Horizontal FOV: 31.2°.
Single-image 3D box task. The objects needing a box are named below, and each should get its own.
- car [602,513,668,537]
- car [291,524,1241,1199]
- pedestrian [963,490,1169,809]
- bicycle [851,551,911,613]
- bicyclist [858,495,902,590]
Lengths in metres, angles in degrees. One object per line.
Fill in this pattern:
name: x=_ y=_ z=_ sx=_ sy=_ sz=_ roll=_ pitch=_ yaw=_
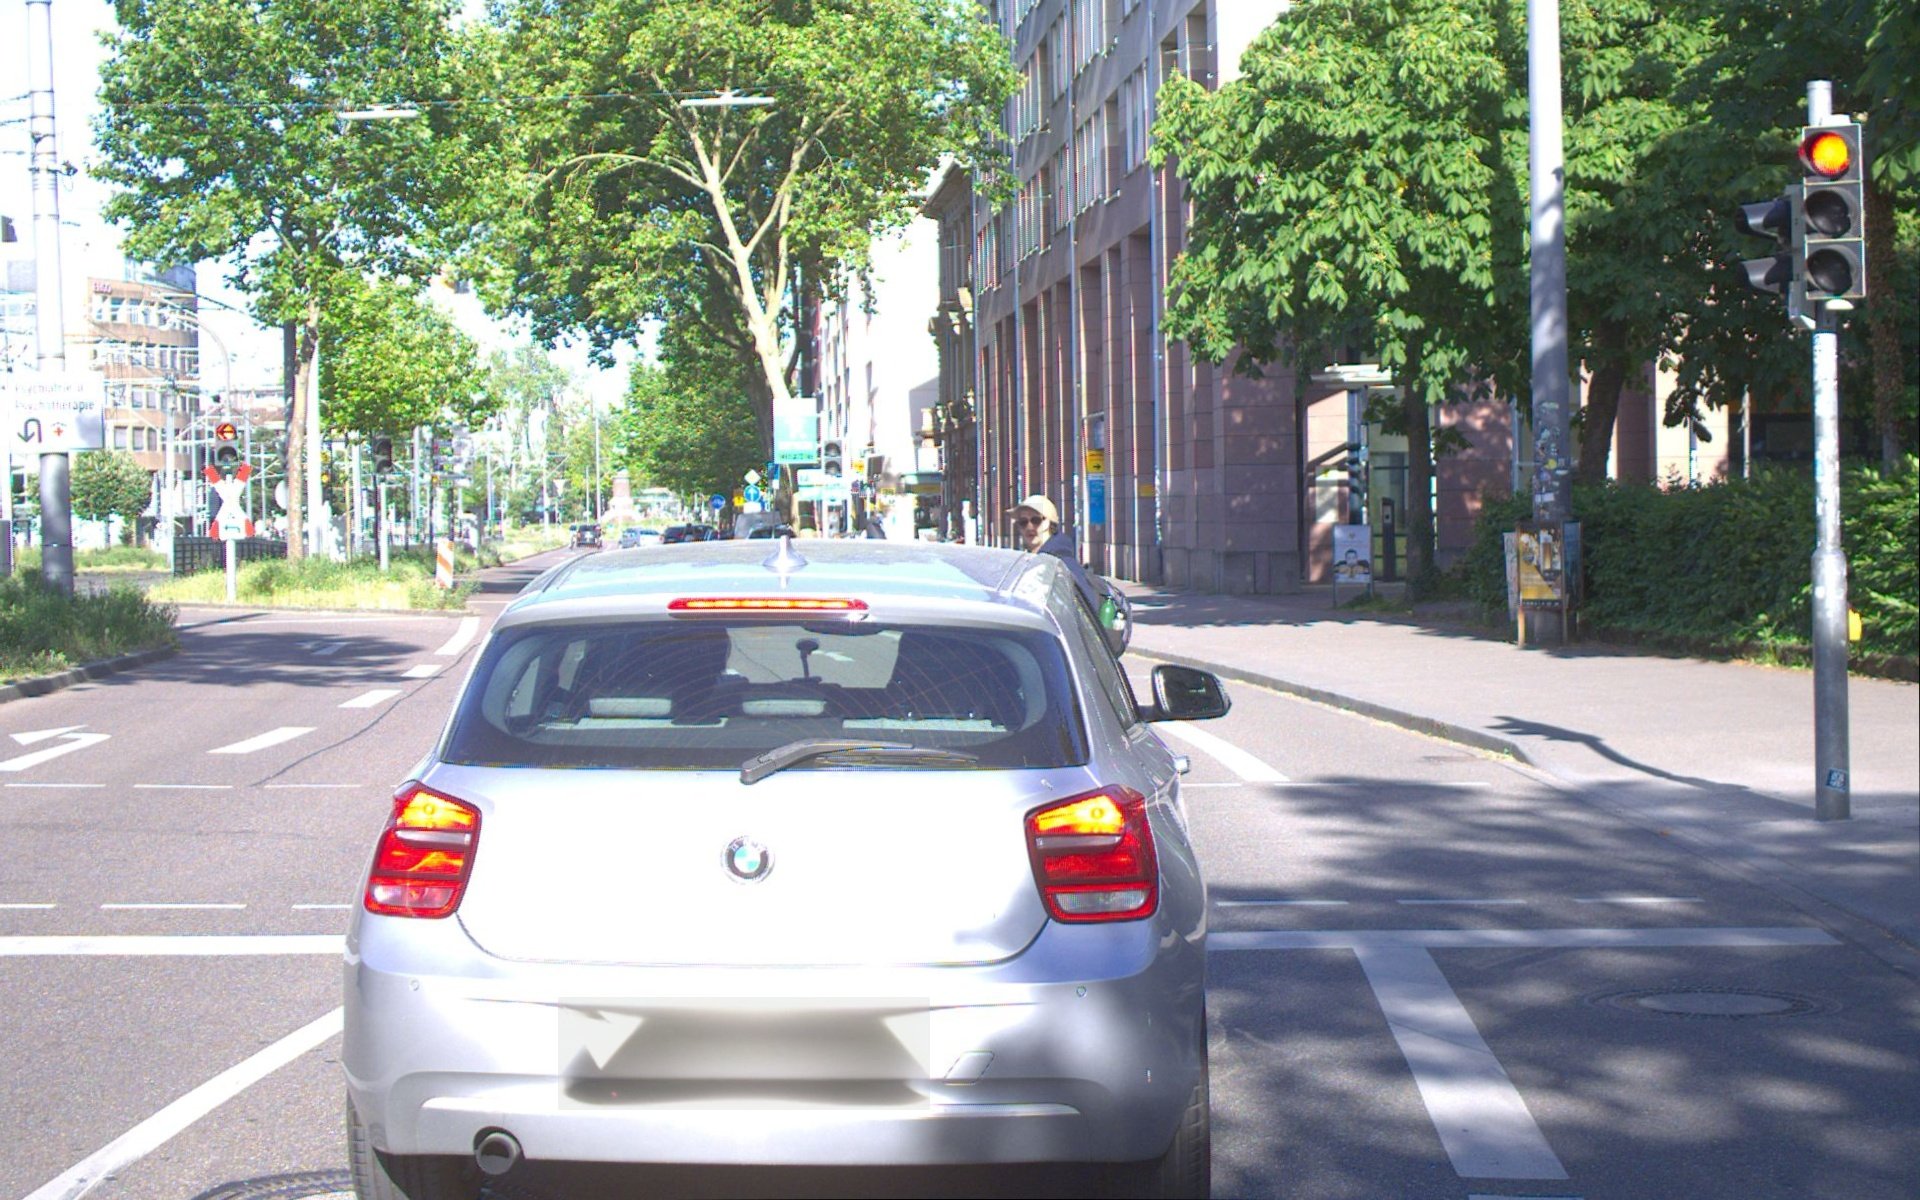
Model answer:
car: x=-20.318 y=-4.703 z=215.057 sx=3.997 sy=1.481 sz=1.995 roll=1 pitch=2 yaw=44
car: x=-0.270 y=0.554 z=8.190 sx=1.730 sy=1.385 sz=3.840 roll=1 pitch=2 yaw=3
pedestrian: x=0.544 y=0.244 z=17.898 sx=0.940 sy=1.623 sz=0.629 roll=0 pitch=1 yaw=-13
bicycle: x=-1.376 y=-0.326 z=60.430 sx=0.831 sy=1.038 sz=1.874 roll=-1 pitch=1 yaw=5
bicyclist: x=-1.407 y=-1.014 z=60.364 sx=0.658 sy=1.651 sz=0.765 roll=-1 pitch=1 yaw=5
